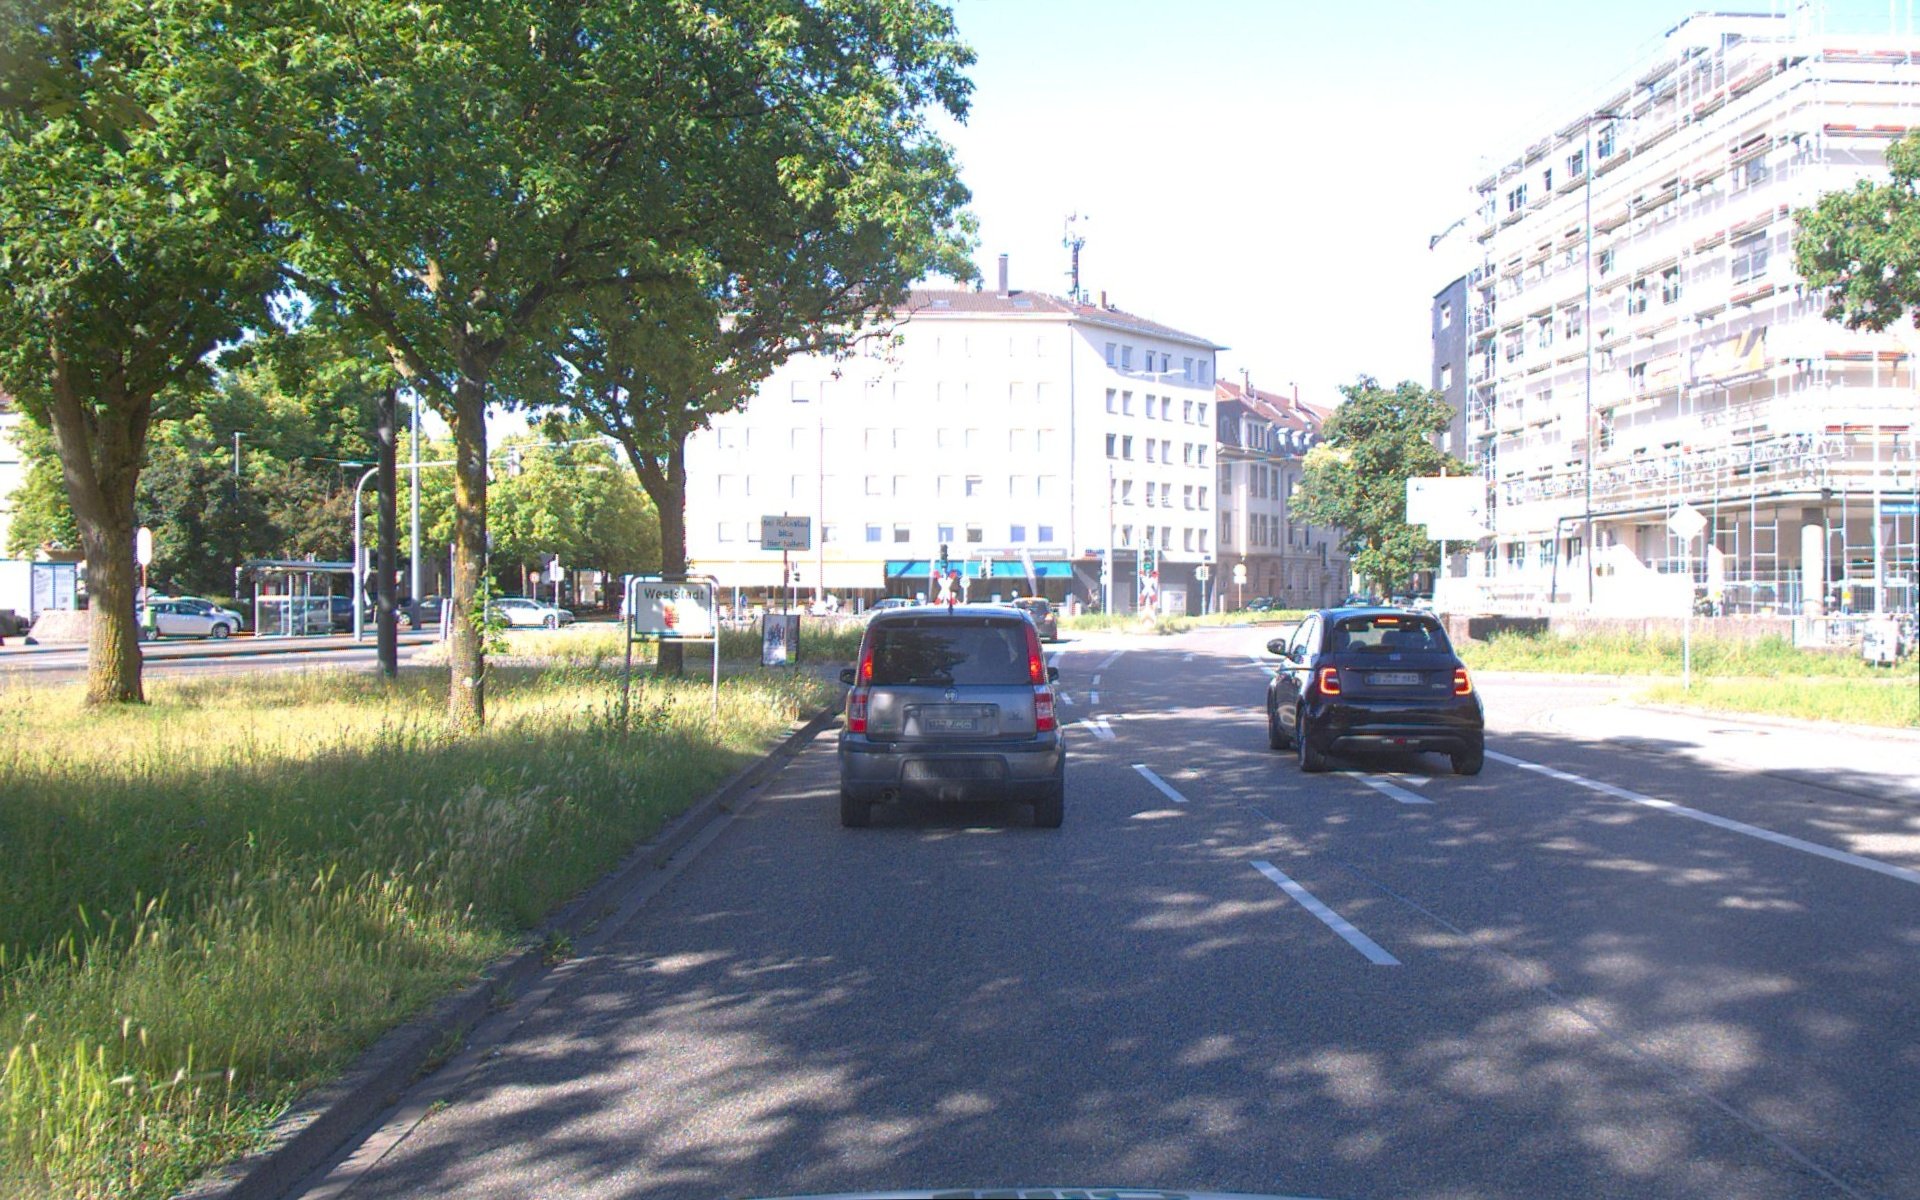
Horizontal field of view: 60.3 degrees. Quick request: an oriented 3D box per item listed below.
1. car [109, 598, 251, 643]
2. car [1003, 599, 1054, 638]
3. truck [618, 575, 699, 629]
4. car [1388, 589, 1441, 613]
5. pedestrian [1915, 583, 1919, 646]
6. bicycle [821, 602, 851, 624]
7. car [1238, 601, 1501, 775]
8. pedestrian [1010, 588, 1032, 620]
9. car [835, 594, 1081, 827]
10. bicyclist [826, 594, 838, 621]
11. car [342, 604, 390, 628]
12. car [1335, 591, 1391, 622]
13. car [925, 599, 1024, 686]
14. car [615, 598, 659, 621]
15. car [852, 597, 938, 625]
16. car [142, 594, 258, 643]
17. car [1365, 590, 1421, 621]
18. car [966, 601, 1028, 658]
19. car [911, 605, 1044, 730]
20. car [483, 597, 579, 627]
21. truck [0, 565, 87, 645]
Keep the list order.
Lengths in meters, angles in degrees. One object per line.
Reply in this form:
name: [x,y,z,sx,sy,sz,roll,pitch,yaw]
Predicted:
car: [-29.500,0.749,62.688,1.839,1.571,4.522,3,2,42]
car: [2.288,0.632,55.990,1.655,1.275,3.626,0,-1,1]
truck: [-14.185,0.074,77.706,1.781,2.469,4.042,0,0,-45]
car: [31.293,0.034,113.977,1.872,1.621,3.986,0,0,-14]
pedestrian: [23.872,0.355,40.297,0.637,1.523,0.907,0,0,-9]
bicycle: [-6.405,0.654,85.467,1.548,1.109,0.531,0,0,-2]
car: [3.953,0.785,16.523,1.641,1.529,3.560,0,0,-2]
pedestrian: [2.793,0.188,76.331,0.761,1.452,0.935,1,-1,-15]
car: [0.001,0.725,12.578,1.626,1.536,3.251,0,0,0]
bicyclist: [-6.625,0.385,85.467,0.583,1.380,0.531,0,0,-1]
car: [-35.013,0.924,97.599,1.562,1.316,3.702,-1,0,-1]
car: [20.279,0.312,83.099,1.742,1.468,3.611,1,1,31]
car: [0.251,0.744,31.143,1.724,1.512,4.293,0,0,0]
car: [-19.519,0.550,100.011,1.953,1.333,3.999,0,0,-1]
car: [-3.101,0.509,78.452,1.984,1.265,3.936,0,0,-44]
car: [-30.235,0.693,65.886,1.724,1.747,3.997,3,2,26]
car: [22.883,0.270,87.284,1.786,1.534,3.990,0,1,32]
car: [0.967,0.762,44.337,1.612,1.463,3.396,0,0,0]
car: [0.174,0.815,21.613,1.588,1.454,3.687,0,0,-1]
car: [-21.124,0.585,81.536,4.300,1.474,1.668,0,0,-3]
truck: [-36.309,0.151,65.044,4.742,3.047,1.989,1,1,42]
